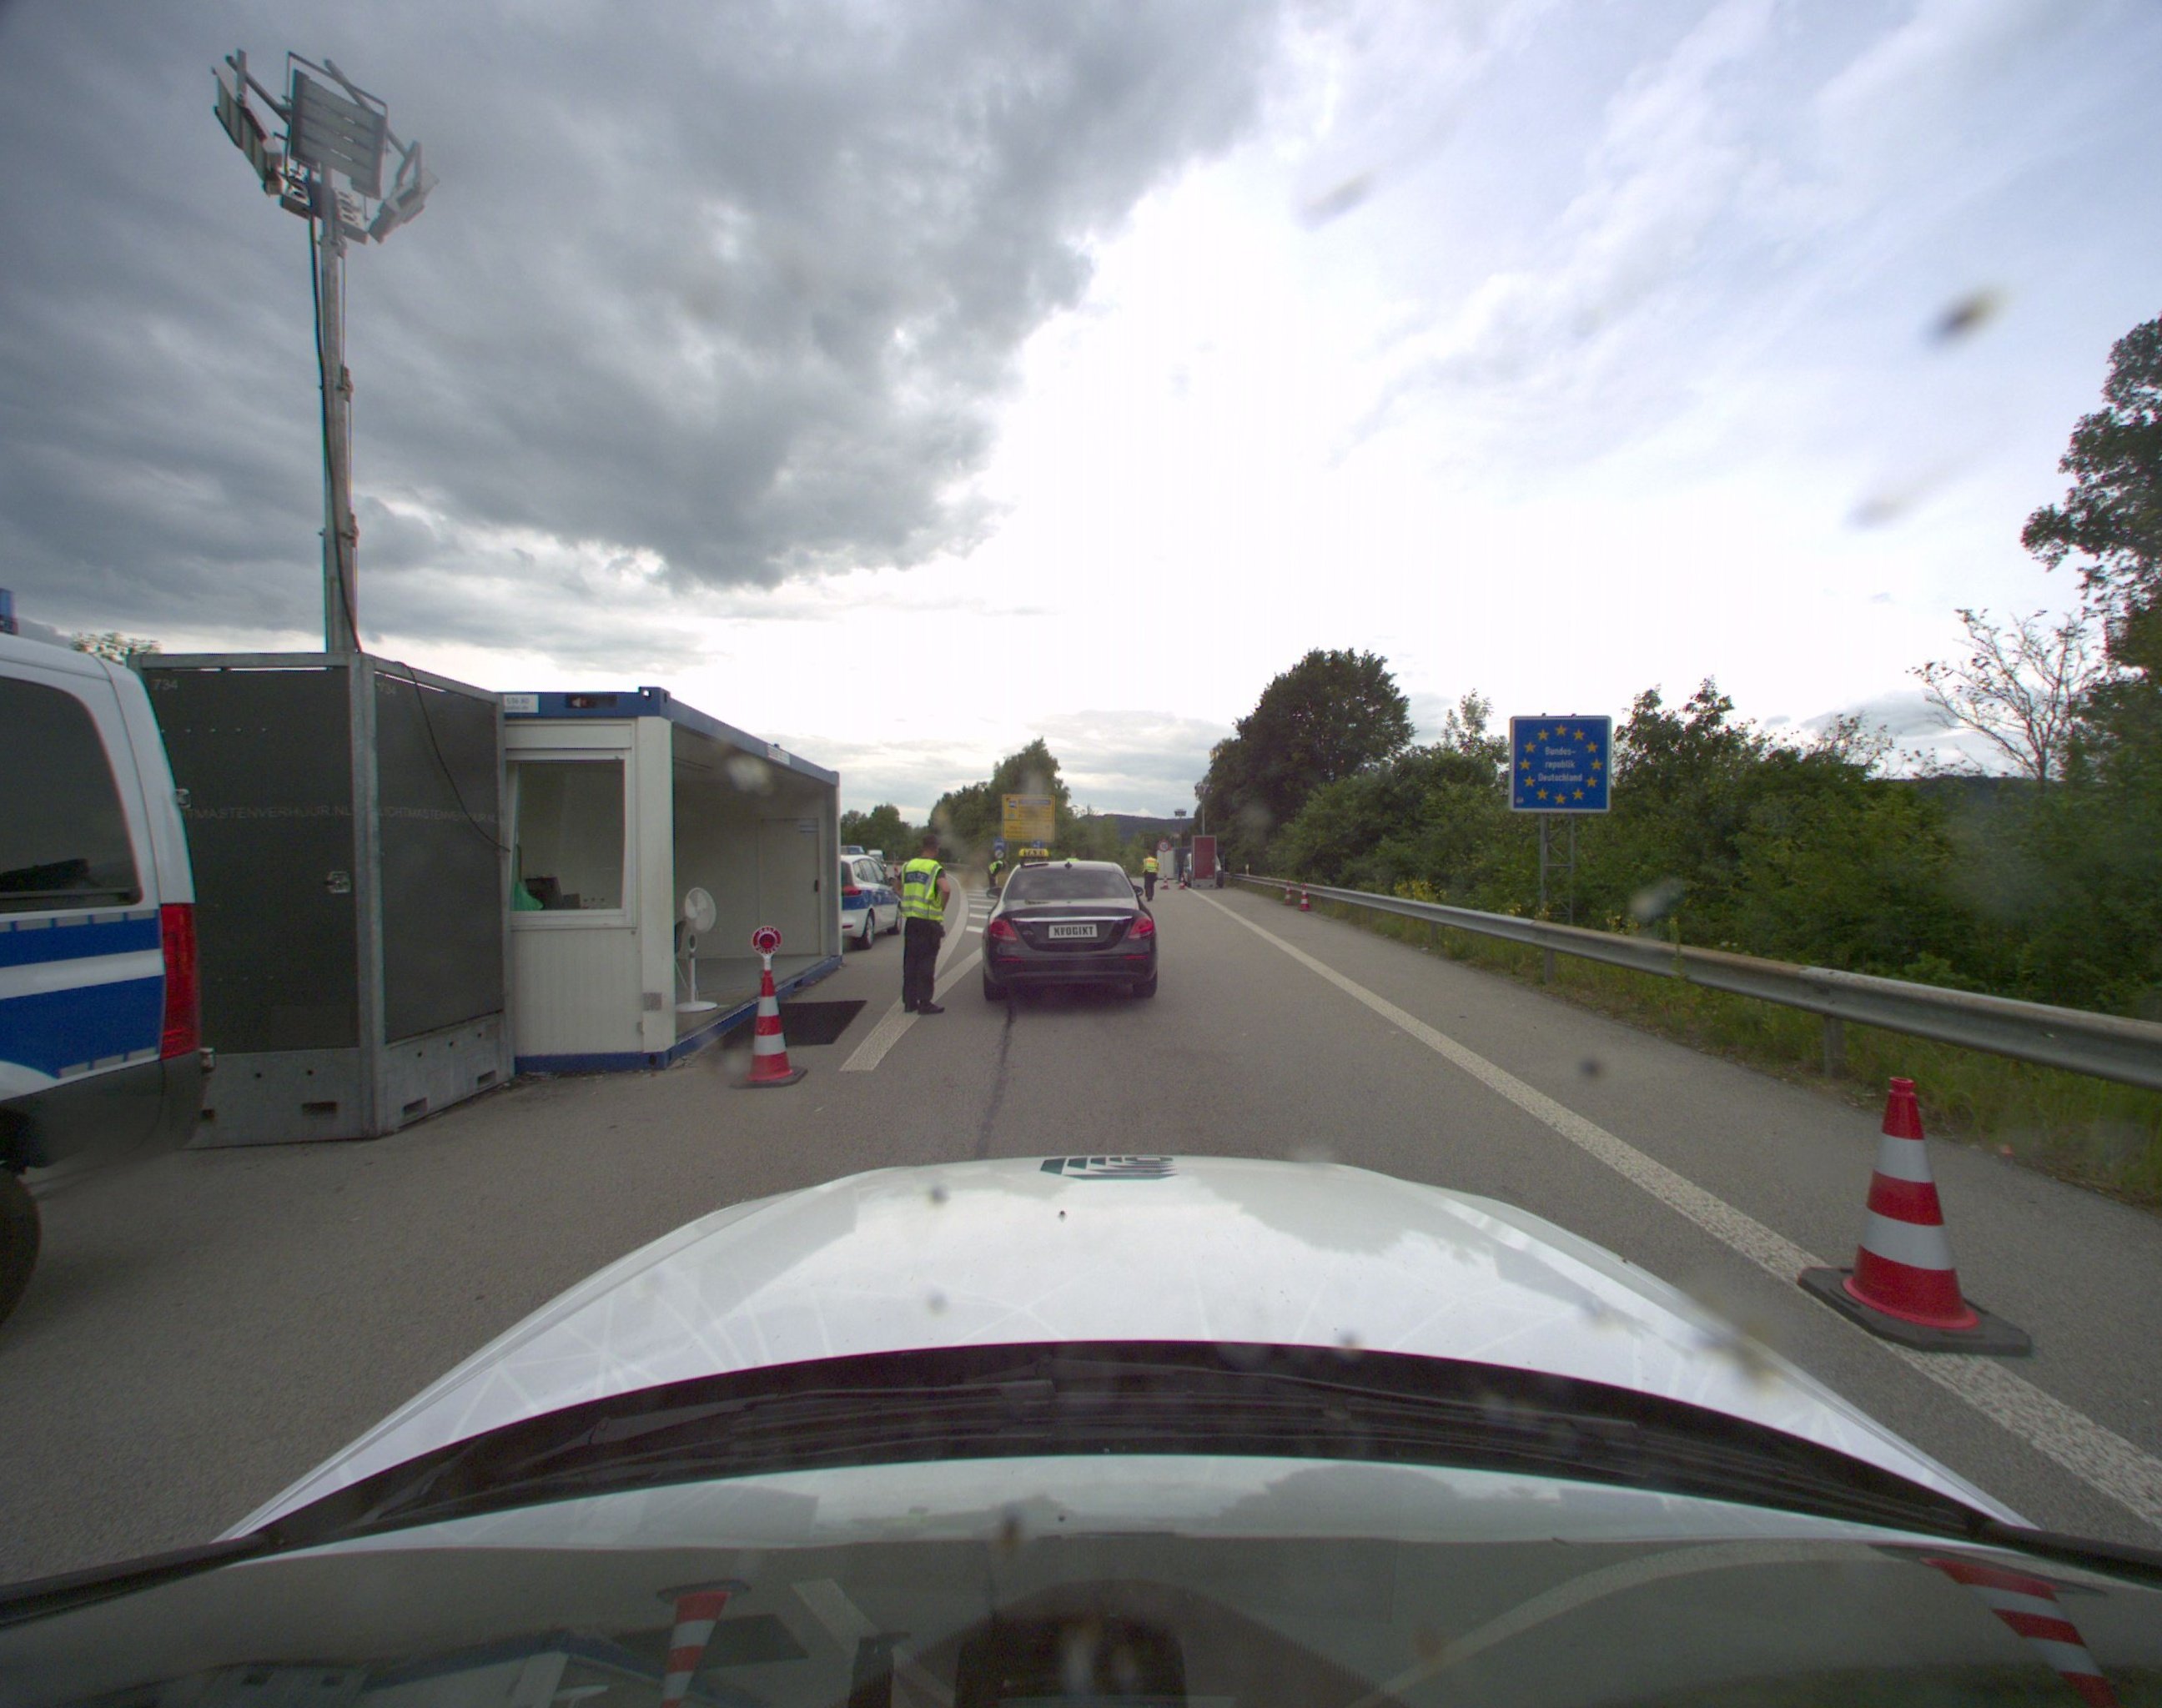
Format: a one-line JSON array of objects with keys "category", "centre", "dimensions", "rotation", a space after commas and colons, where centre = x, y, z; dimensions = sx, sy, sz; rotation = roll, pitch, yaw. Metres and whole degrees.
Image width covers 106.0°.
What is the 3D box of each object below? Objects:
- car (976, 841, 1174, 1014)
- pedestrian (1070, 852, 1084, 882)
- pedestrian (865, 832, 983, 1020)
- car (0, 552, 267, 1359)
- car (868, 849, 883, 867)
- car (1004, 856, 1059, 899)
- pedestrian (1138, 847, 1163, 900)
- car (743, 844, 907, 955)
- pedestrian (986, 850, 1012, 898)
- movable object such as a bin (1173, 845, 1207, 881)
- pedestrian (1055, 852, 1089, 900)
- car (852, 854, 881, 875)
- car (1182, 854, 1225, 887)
[{"category": "car", "centre": [-0.150, 0.697, 9.878], "dimensions": [1.851, 1.595, 4.371], "rotation": [-1, 0, -3]}, {"category": "pedestrian", "centre": [-0.245, 0.865, 54.088], "dimensions": [0.659, 1.961, 0.763], "rotation": [-1, -1, 17]}, {"category": "pedestrian", "centre": [-1.536, 0.661, 7.992], "dimensions": [0.752, 1.718, 0.823], "rotation": [-2, -1, 39]}, {"category": "car", "centre": [-4.269, 0.313, 0.636], "dimensions": [2.023, 2.463, 5.276], "rotation": [-1, 0, -2]}, {"category": "car", "centre": [-26.714, 0.494, 105.962], "dimensions": [1.858, 2.222, 4.236], "rotation": [-1, 0, -14]}, {"category": "car", "centre": [-1.792, 0.824, 30.752], "dimensions": [1.850, 1.498, 4.255], "rotation": [-1, 0, -1]}, {"category": "pedestrian", "centre": [2.436, 0.674, 28.725], "dimensions": [0.809, 1.830, 0.810], "rotation": [-1, -1, 1]}, {"category": "car", "centre": [-4.521, 0.738, 15.036], "dimensions": [1.864, 1.743, 4.005], "rotation": [-1, 0, -2]}, {"category": "pedestrian", "centre": [-3.099, 0.742, 30.814], "dimensions": [0.908, 1.769, 0.911], "rotation": [-1, 0, -1]}, {"category": "movable object such as a bin", "centre": [7.229, 0.606, 54.403], "dimensions": [1.984, 2.280, 4.172], "rotation": [-1, 0, 4]}, {"category": "pedestrian", "centre": [-0.322, 0.777, 29.372], "dimensions": [0.914, 1.698, 0.905], "rotation": [0, -1, -30]}, {"category": "car", "centre": [-16.166, 0.778, 61.418], "dimensions": [1.857, 1.498, 4.239], "rotation": [-1, 0, -12]}, {"category": "car", "centre": [6.781, 0.879, 45.563], "dimensions": [1.908, 1.678, 5.087], "rotation": [1, 0, 3]}]
